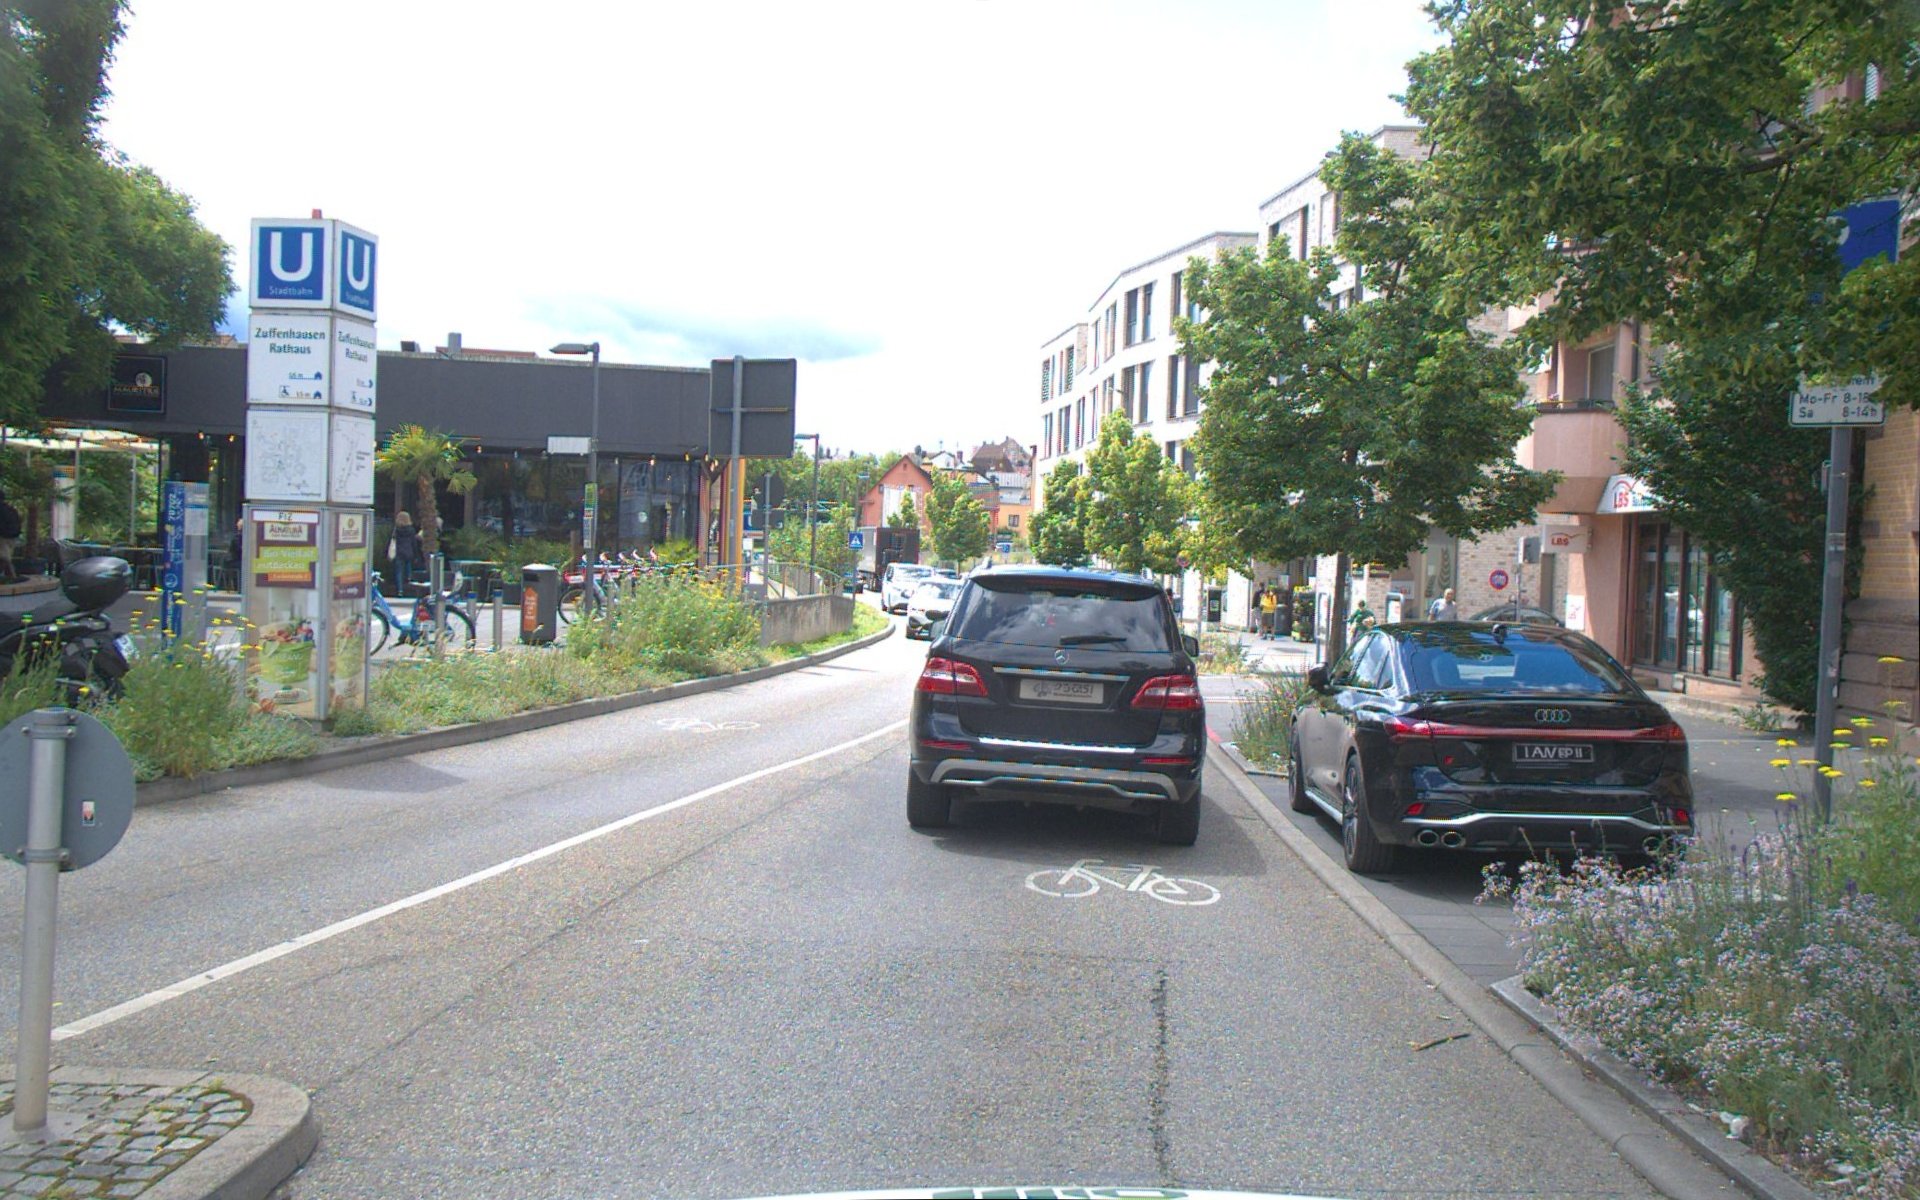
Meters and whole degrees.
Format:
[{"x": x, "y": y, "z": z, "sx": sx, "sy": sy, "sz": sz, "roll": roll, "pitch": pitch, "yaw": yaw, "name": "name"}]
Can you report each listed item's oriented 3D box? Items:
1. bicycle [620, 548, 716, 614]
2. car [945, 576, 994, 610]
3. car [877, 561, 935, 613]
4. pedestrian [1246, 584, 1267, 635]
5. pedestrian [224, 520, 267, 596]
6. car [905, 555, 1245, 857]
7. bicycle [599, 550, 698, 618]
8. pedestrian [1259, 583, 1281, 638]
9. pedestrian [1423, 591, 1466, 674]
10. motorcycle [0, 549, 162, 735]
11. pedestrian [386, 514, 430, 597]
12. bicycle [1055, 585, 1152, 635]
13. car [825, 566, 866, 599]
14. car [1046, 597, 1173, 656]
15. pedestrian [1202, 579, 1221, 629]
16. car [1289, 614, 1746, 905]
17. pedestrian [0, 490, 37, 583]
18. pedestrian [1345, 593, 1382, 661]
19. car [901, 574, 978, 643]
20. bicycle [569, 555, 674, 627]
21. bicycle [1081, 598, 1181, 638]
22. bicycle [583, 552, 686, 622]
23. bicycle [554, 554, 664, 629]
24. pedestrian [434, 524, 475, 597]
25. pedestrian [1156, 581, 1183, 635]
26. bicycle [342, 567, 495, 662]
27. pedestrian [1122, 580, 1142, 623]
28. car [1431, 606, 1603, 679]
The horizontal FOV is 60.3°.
[{"x": -5.110, "y": -0.329, "z": 29.017, "sx": 1.535, "sy": 1.110, "sz": 0.578, "roll": 1, "pitch": 0, "yaw": 4, "name": "bicycle"}, {"x": 0.383, "y": -0.330, "z": 71.692, "sx": 1.578, "sy": 1.407, "sz": 3.830, "roll": 1, "pitch": 1, "yaw": -8, "name": "car"}, {"x": -2.222, "y": -0.563, "z": 66.626, "sx": 1.806, "sy": 1.890, "sz": 4.490, "roll": 4, "pitch": 1, "yaw": -8, "name": "car"}, {"x": 9.914, "y": 0.314, "z": 55.295, "sx": 0.547, "sy": 1.712, "sz": 0.568, "roll": 1, "pitch": 0, "yaw": 1, "name": "pedestrian"}, {"x": -13.330, "y": -0.776, "z": 30.864, "sx": 0.570, "sy": 1.403, "sz": 0.615, "roll": 1, "pitch": 0, "yaw": -9, "name": "pedestrian"}, {"x": 0.807, "y": 0.616, "z": 11.969, "sx": 1.985, "sy": 1.757, "sz": 4.435, "roll": 1, "pitch": 0, "yaw": 3, "name": "car"}, {"x": -5.285, "y": -0.274, "z": 28.095, "sx": 1.535, "sy": 1.110, "sz": 0.578, "roll": 1, "pitch": 0, "yaw": 4, "name": "bicycle"}, {"x": 9.888, "y": 0.326, "z": 52.759, "sx": 0.547, "sy": 1.721, "sz": 0.639, "roll": 1, "pitch": 0, "yaw": 1, "name": "pedestrian"}, {"x": 9.888, "y": 0.657, "z": 33.767, "sx": 0.618, "sy": 1.655, "sz": 0.699, "roll": 1, "pitch": 0, "yaw": 0, "name": "pedestrian"}, {"x": -7.299, "y": 0.281, "z": 12.707, "sx": 2.087, "sy": 1.311, "sz": 0.584, "roll": 3, "pitch": 3, "yaw": 6, "name": "motorcycle"}, {"x": -11.104, "y": -0.901, "z": 33.262, "sx": 0.604, "sy": 1.646, "sz": 0.580, "roll": 1, "pitch": 0, "yaw": 39, "name": "pedestrian"}, {"x": 4.549, "y": 0.326, "z": 52.515, "sx": 2.997, "sy": 1.512, "sz": 0.710, "roll": 1, "pitch": 0, "yaw": -1, "name": "bicycle"}, {"x": -6.400, "y": -1.012, "z": 92.079, "sx": 1.807, "sy": 1.635, "sz": 3.991, "roll": 4, "pitch": 1, "yaw": -10, "name": "car"}, {"x": 3.848, "y": 0.647, "z": 42.171, "sx": 1.581, "sy": 1.407, "sz": 3.824, "roll": 1, "pitch": 1, "yaw": 34, "name": "car"}, {"x": 8.822, "y": 0.134, "z": 58.019, "sx": 0.547, "sy": 1.712, "sz": 0.568, "roll": 1, "pitch": 0, "yaw": 1, "name": "pedestrian"}, {"x": 3.318, "y": 0.838, "z": 10.759, "sx": 1.817, "sy": 1.430, "sz": 4.377, "roll": 1, "pitch": 0, "yaw": 5, "name": "car"}, {"x": -16.639, "y": -1.105, "z": 28.946, "sx": 0.601, "sy": 1.604, "sz": 0.583, "roll": 1, "pitch": 0, "yaw": -1, "name": "pedestrian"}, {"x": 9.630, "y": 0.635, "z": 39.506, "sx": 0.696, "sy": 1.590, "sz": 0.568, "roll": 1, "pitch": 0, "yaw": 0, "name": "pedestrian"}, {"x": -0.517, "y": 0.195, "z": 44.420, "sx": 1.803, "sy": 1.635, "sz": 4.001, "roll": 4, "pitch": 1, "yaw": 1, "name": "car"}, {"x": -5.387, "y": -0.145, "z": 26.362, "sx": 1.535, "sy": 1.087, "sz": 0.539, "roll": 2, "pitch": 0, "yaw": 4, "name": "bicycle"}, {"x": 5.286, "y": 0.557, "z": 51.126, "sx": 2.997, "sy": 1.166, "sz": 0.710, "roll": 1, "pitch": 0, "yaw": -1, "name": "bicycle"}, {"x": -5.342, "y": -0.214, "z": 27.212, "sx": 1.535, "sy": 1.110, "sz": 0.578, "roll": 1, "pitch": 0, "yaw": 4, "name": "bicycle"}, {"x": -5.418, "y": -0.139, "z": 25.592, "sx": 1.535, "sy": 1.110, "sz": 0.578, "roll": 1, "pitch": 0, "yaw": 4, "name": "bicycle"}, {"x": -10.447, "y": -0.816, "z": 34.209, "sx": 0.568, "sy": 1.489, "sz": 0.616, "roll": 1, "pitch": 0, "yaw": 12, "name": "pedestrian"}, {"x": 6.730, "y": 0.242, "z": 53.139, "sx": 0.651, "sy": 1.712, "sz": 0.566, "roll": 1, "pitch": 0, "yaw": -14, "name": "pedestrian"}, {"x": -6.120, "y": 0.160, "z": 18.715, "sx": 1.577, "sy": 1.014, "sz": 0.500, "roll": 2, "pitch": 0, "yaw": 10, "name": "bicycle"}, {"x": 6.807, "y": 0.059, "z": 65.431, "sx": 0.550, "sy": 1.712, "sz": 0.565, "roll": 1, "pitch": 0, "yaw": -18, "name": "pedestrian"}, {"x": 14.785, "y": 1.115, "z": 44.068, "sx": 3.905, "sy": 1.593, "sz": 1.847, "roll": 4, "pitch": 1, "yaw": 2, "name": "car"}]
